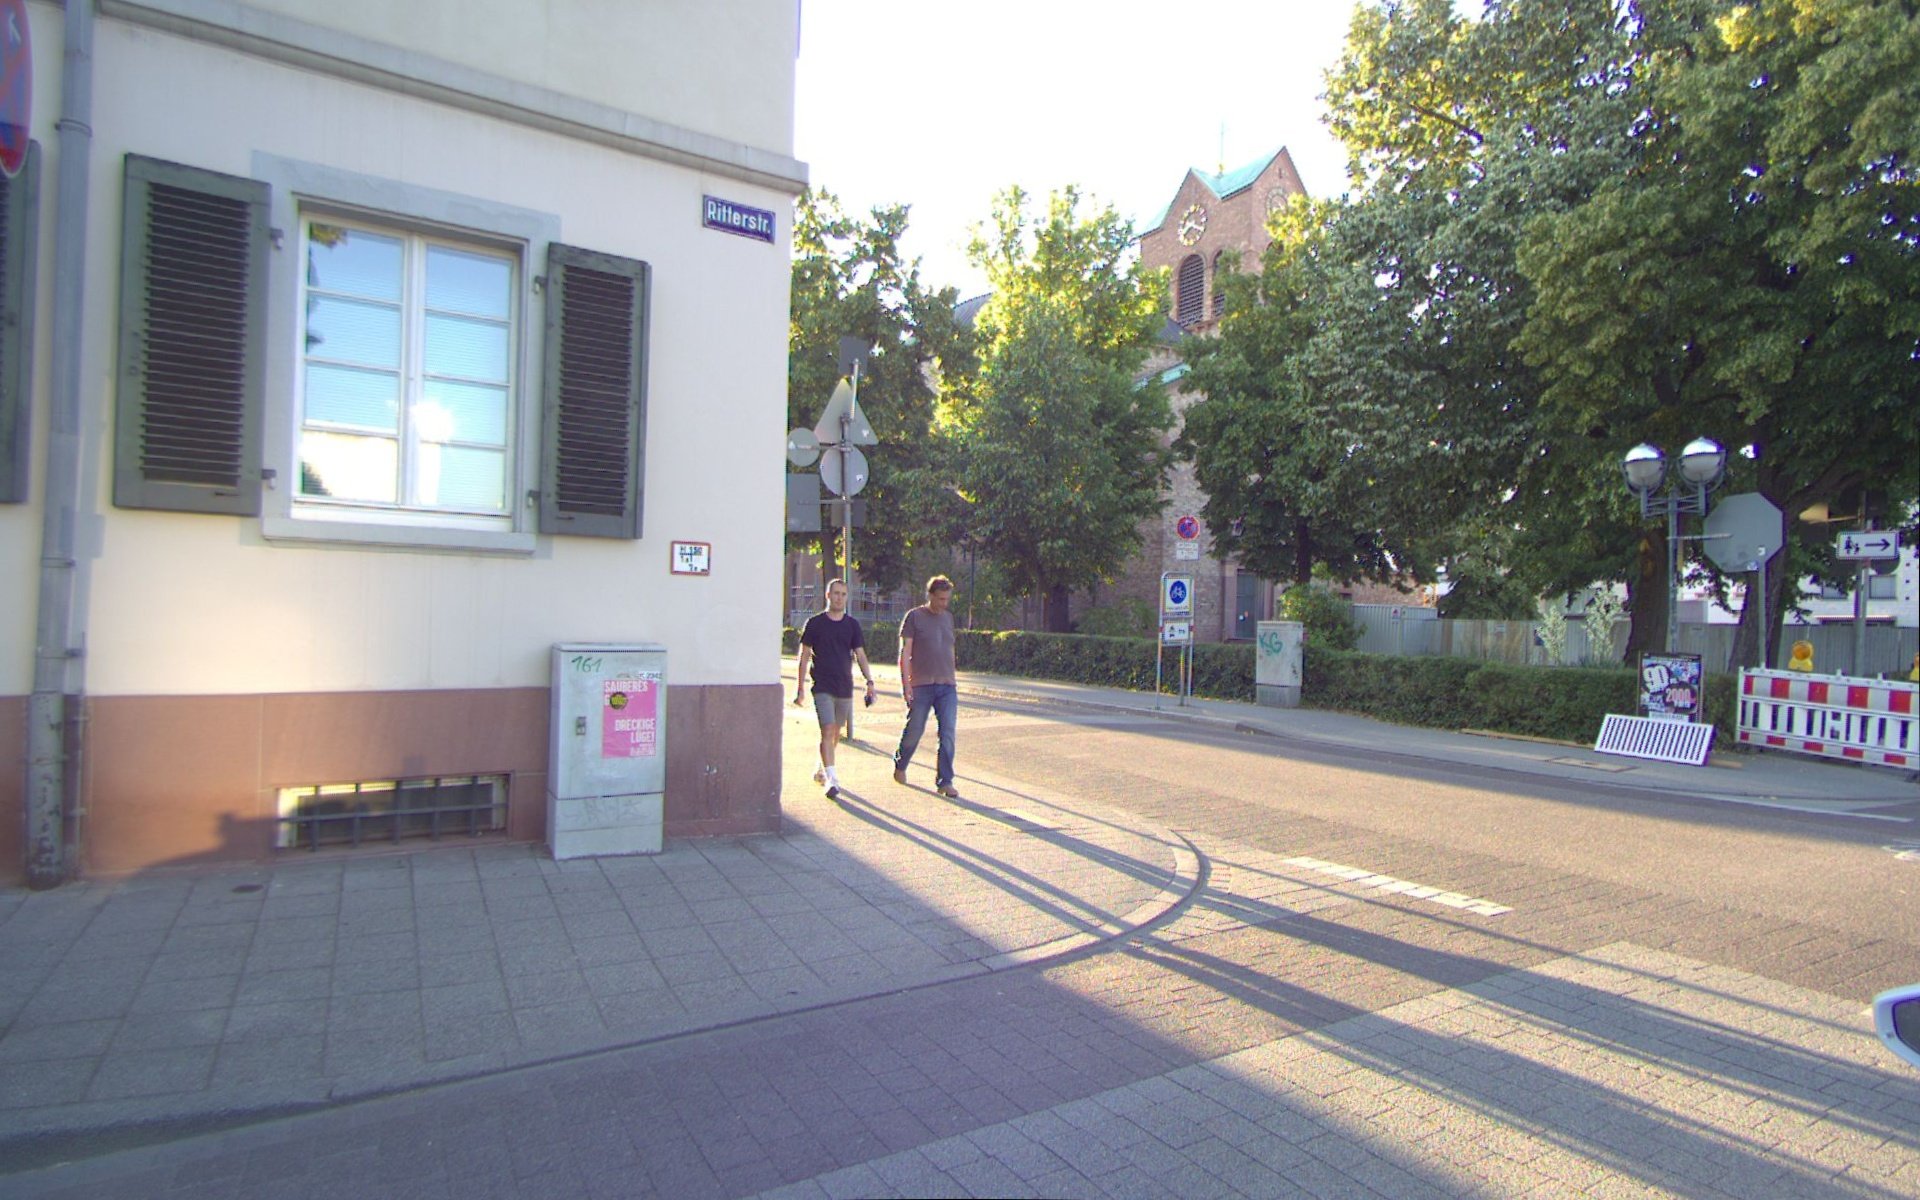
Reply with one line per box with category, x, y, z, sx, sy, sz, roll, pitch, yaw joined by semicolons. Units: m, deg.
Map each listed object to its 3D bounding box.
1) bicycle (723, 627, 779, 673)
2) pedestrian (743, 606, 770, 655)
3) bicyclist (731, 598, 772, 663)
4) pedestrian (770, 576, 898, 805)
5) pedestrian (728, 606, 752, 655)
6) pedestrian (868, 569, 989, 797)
bicycle;-5.416;1.280;25.977;0.591;1.136;1.911;2;-2;-39
pedestrian;-7.718;1.161;38.102;0.786;1.849;0.651;2;-2;-29
bicyclist;-5.403;0.781;26.010;0.591;1.654;1.052;2;-2;-39
pedestrian;-1.005;0.696;8.006;0.787;1.711;0.651;2;-2;-31
pedestrian;-8.285;1.154;37.825;0.784;1.837;0.653;2;-1;-20
pedestrian;-0.273;0.685;8.584;0.787;1.838;0.651;2;-2;-31
